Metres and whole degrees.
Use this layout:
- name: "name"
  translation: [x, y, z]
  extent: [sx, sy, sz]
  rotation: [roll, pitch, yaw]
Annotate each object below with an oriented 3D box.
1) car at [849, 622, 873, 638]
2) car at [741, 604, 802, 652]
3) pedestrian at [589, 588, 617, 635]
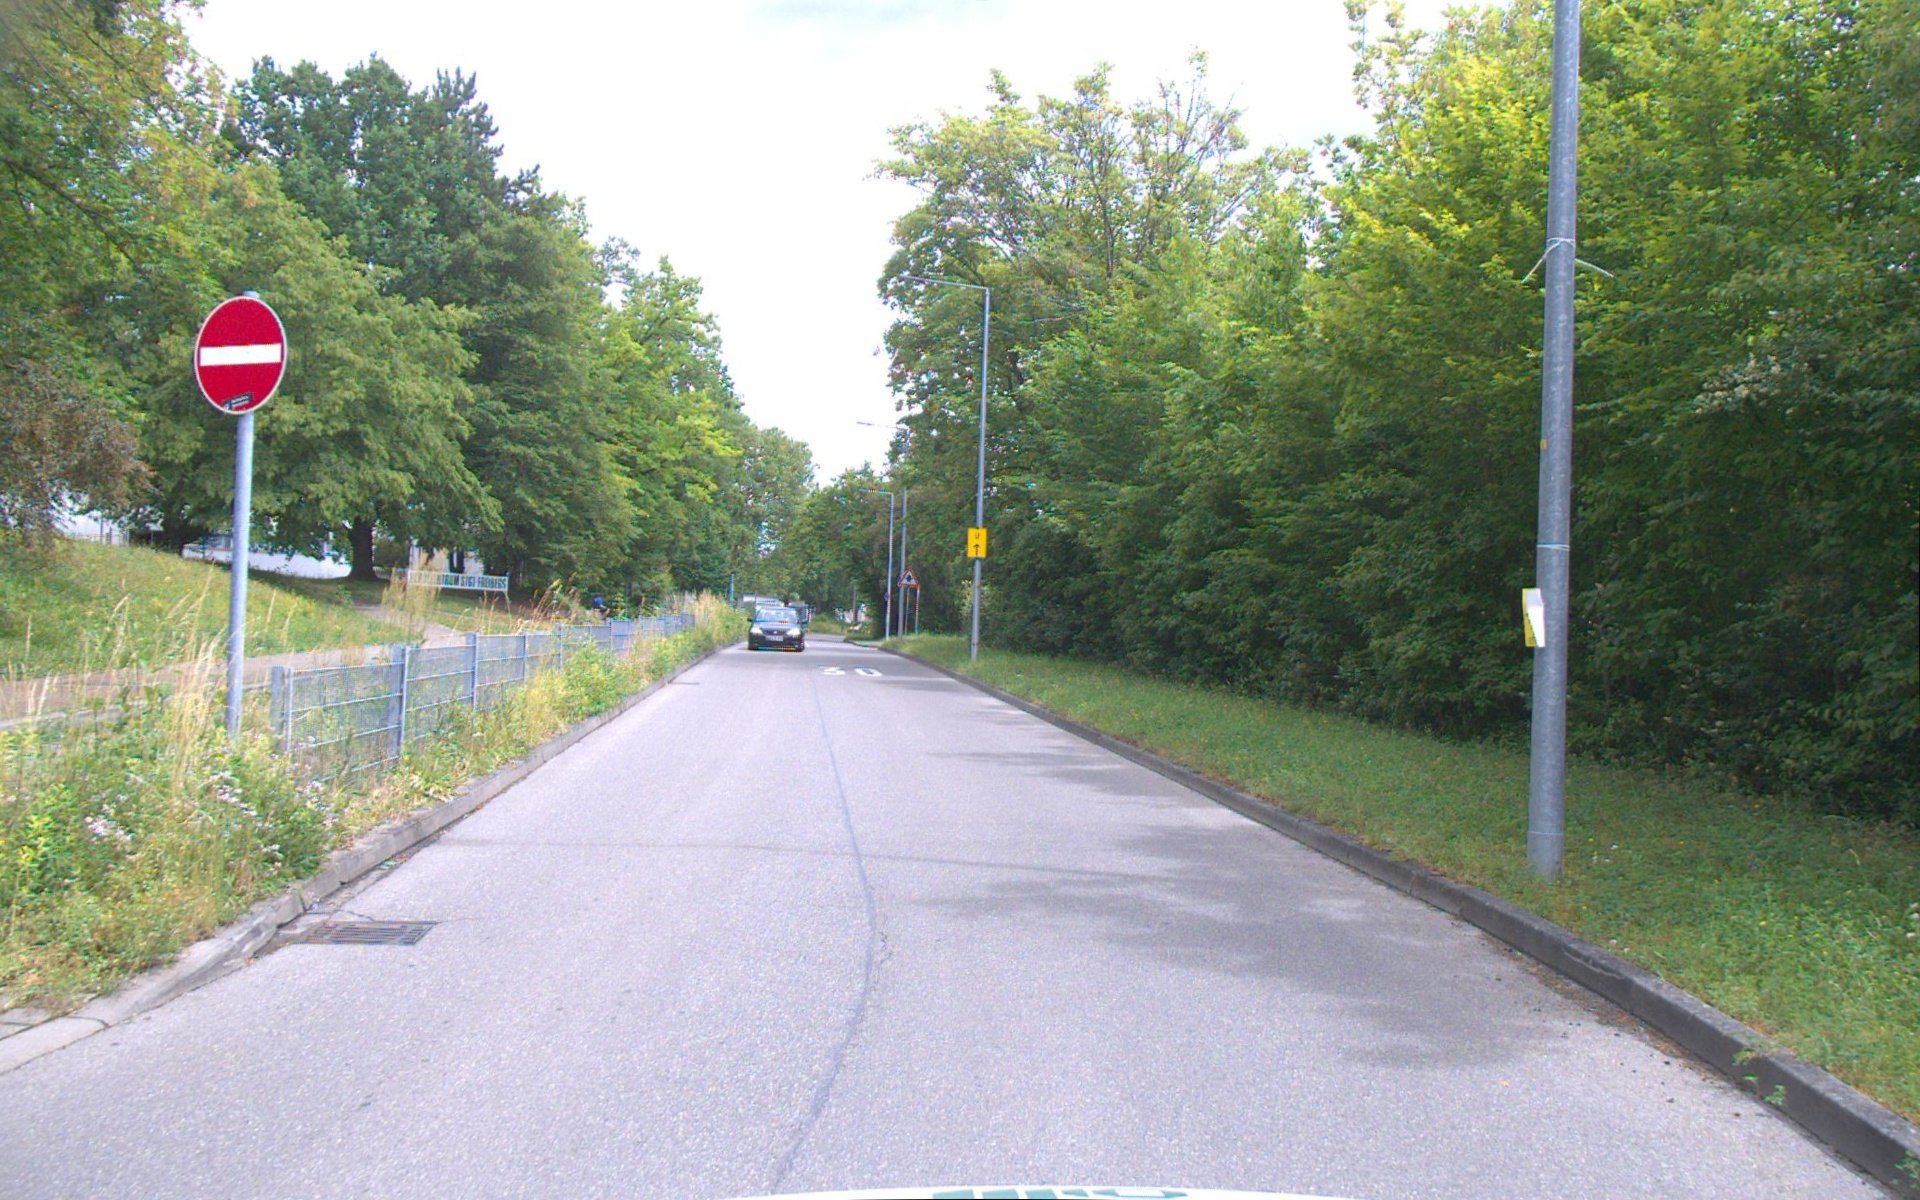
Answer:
- name: "car"
  translation: [-10.978, 3.325, 183.178]
  extent: [1.820, 1.518, 4.002]
  rotation: [-1, -3, 9]
- name: "car"
  translation: [-5.867, 0.845, 51.784]
  extent: [1.659, 1.372, 4.091]
  rotation: [2, 0, -4]
- name: "pedestrian"
  translation: [-15.989, 0.504, 74.139]
  extent: [0.862, 2.049, 0.863]
  rotation: [-3, -4, 40]
